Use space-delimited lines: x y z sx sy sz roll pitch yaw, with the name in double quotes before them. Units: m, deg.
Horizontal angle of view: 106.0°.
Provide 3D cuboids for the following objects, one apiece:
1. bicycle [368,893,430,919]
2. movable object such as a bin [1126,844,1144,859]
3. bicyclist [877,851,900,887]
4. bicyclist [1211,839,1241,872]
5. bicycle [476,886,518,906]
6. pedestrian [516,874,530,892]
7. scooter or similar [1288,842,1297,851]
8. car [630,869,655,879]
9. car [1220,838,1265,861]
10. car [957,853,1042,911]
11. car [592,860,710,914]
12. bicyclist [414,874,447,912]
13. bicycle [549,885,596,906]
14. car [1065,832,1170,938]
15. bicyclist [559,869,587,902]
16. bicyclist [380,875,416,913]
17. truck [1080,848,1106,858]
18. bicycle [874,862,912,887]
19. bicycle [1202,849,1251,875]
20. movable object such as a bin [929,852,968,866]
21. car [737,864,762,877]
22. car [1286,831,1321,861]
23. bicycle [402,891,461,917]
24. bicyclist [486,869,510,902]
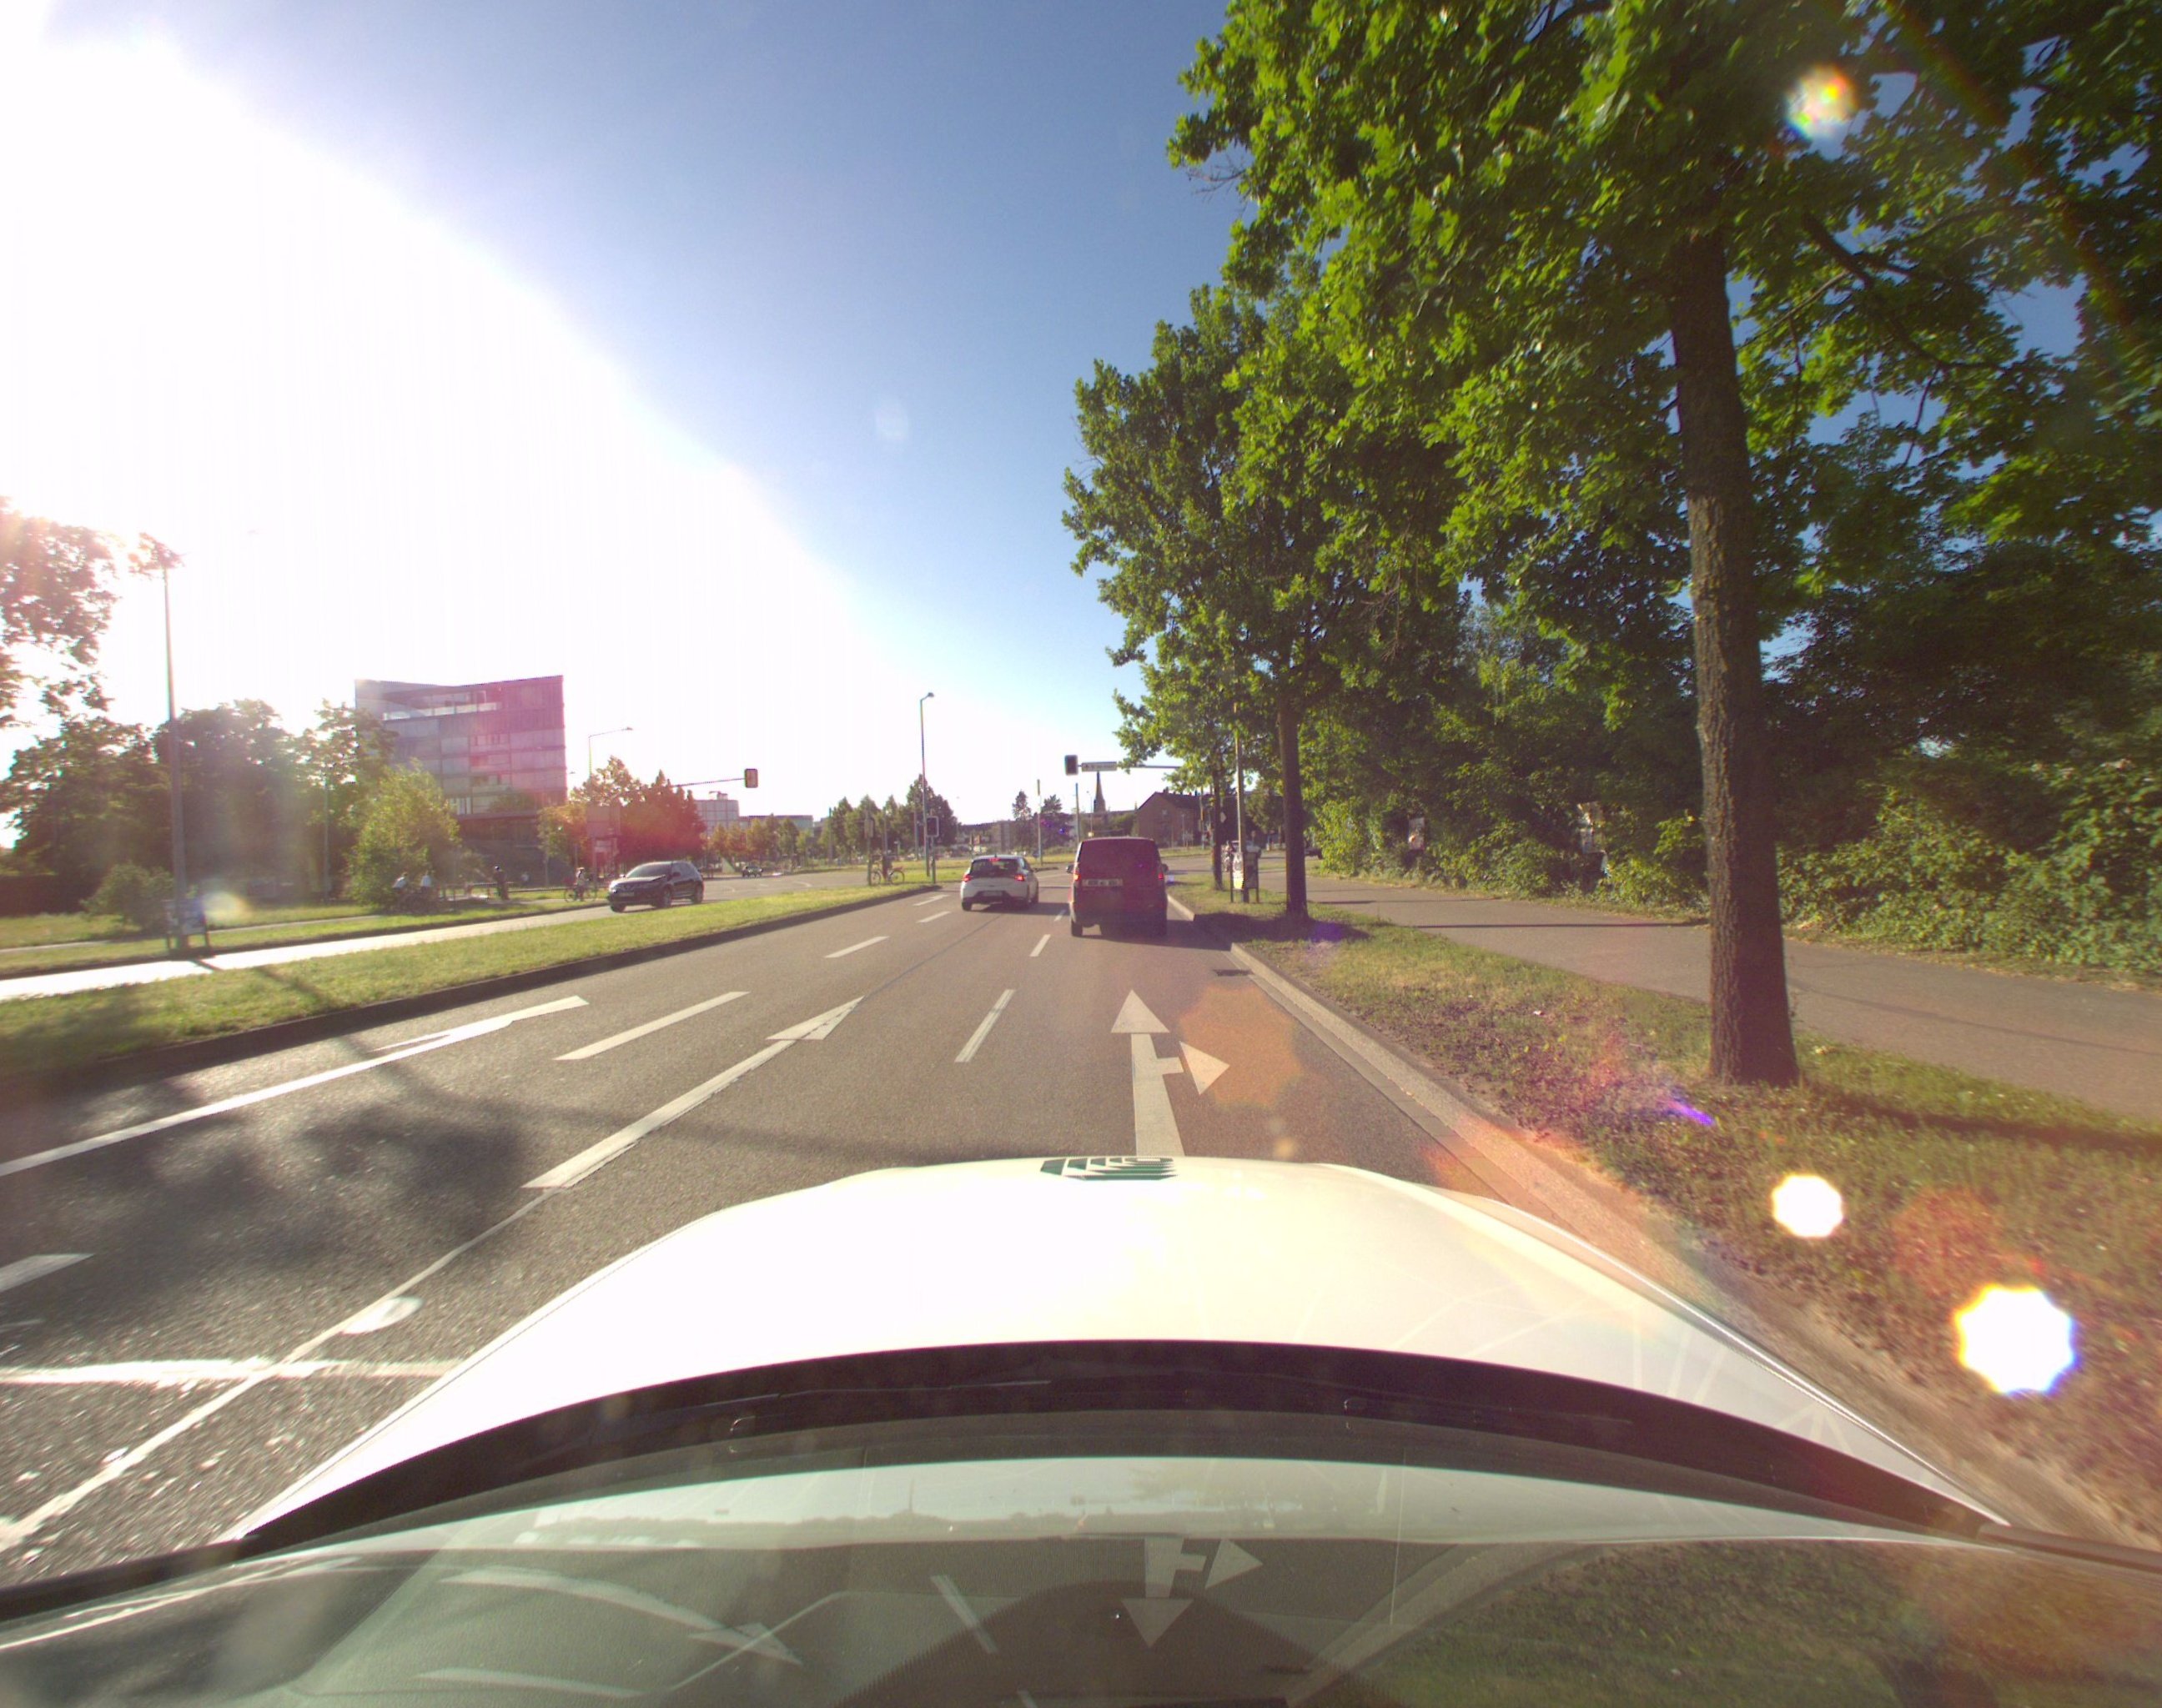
"bicycle" -26.329 2.001 31.485 0.612 0.852 1.892 -2 0 6
"movable object such as a bin" 10.674 -0.478 159.933 2.422 2.773 3.981 0 -1 -14
"bicyclist" -9.107 0.691 38.513 0.939 1.663 0.702 -2 -1 -8
"bicyclist" 7.256 0.081 40.762 1.088 1.562 0.870 -3 -1 -21
"bicycle" -28.449 2.027 39.717 0.487 0.852 1.892 -2 0 6
"pedestrian" -52.065 2.691 75.995 0.885 1.629 0.756 -3 0 -20
"scooter or similar" 30.243 -1.092 116.395 0.446 1.248 1.250 0 -2 -37
"car" -80.502 3.681 149.458 4.949 1.785 2.478 -2 0 40
"car" 12.849 -0.410 64.567 1.974 1.639 4.437 -2 1 32
"car" -2.182 0.713 22.686 1.795 1.461 3.812 -1 0 3
"car" -15.805 1.137 30.273 1.989 1.739 4.733 -2 0 -3
"bicyclist" -25.282 1.512 31.641 0.612 1.392 0.720 -2 0 6
"bicycle" -24.230 1.976 38.806 1.872 0.852 0.619 -2 0 8
"car" 0.733 0.530 16.012 1.795 1.813 3.812 -1 0 3
"bicyclist" -24.198 1.510 38.802 0.917 1.517 0.619 -2 0 8
"bicyclist" -26.359 1.526 31.444 0.612 1.392 0.839 -2 0 6
"truck" 2.548 -0.292 177.957 2.181 2.014 6.364 0 -1 -37
"bicycle" -8.902 0.954 38.548 1.649 1.128 0.702 -2 -1 -8
"bicycle" 7.295 0.410 40.771 2.218 1.155 0.870 -3 -1 -22
"movable object such as a bin" -29.592 1.108 182.204 7.970 2.782 2.910 -2 0 -37
"car" -45.777 2.281 112.438 2.020 1.541 4.274 -3 0 -40
"car" 15.546 -0.531 57.095 1.984 1.897 4.767 -2 -1 11
"bicycle" -25.249 1.936 31.712 0.612 0.852 1.892 -2 0 6
"bicyclist" -28.473 1.525 39.762 0.429 1.564 0.853 -2 0 6
